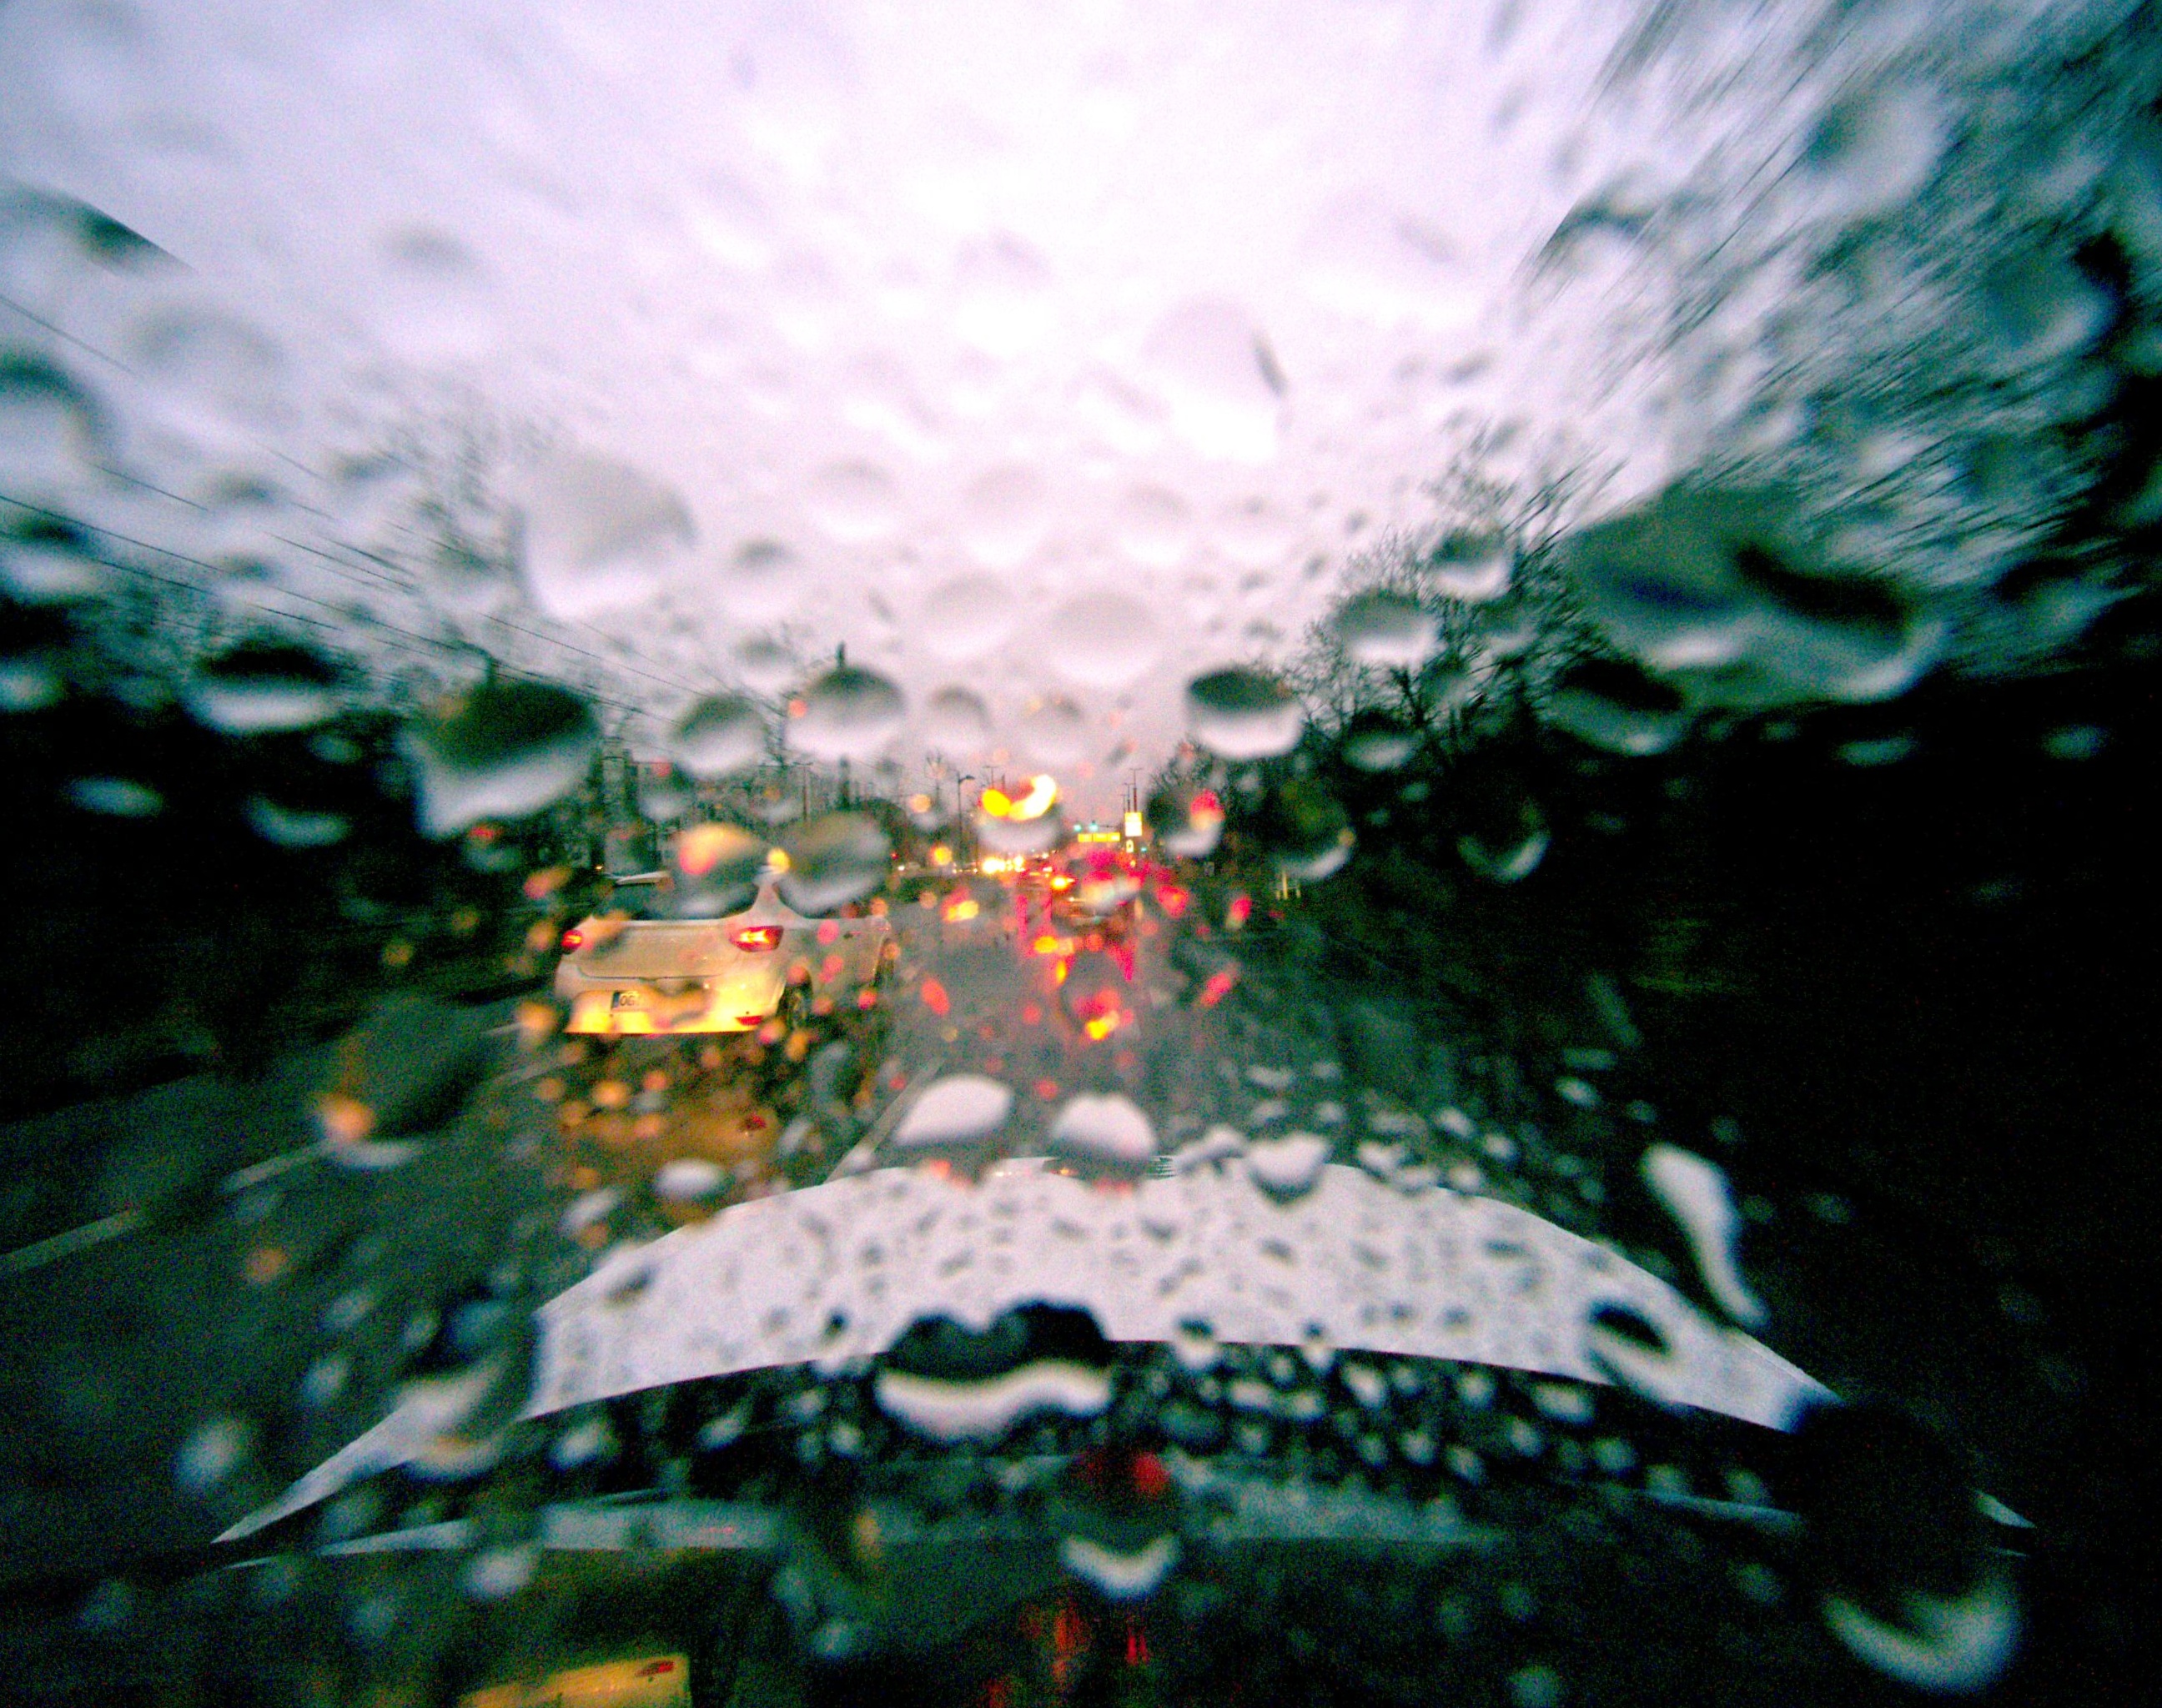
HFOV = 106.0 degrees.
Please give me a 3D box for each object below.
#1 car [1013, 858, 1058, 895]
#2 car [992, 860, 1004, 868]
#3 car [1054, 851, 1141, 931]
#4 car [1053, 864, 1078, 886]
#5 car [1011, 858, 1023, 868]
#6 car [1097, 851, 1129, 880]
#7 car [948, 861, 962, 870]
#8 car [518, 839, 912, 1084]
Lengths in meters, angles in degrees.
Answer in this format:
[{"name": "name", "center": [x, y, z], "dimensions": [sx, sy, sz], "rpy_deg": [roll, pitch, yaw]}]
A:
[{"name": "car", "center": [-2.147, 1.055, 39.442], "dimensions": [1.815, 1.648, 4.001], "rpy_deg": [-1, 0, 2]}, {"name": "car", "center": [-14.761, 1.773, 145.239], "dimensions": [1.646, 1.420, 3.326], "rpy_deg": [-2, 0, 0]}, {"name": "car", "center": [0.420, 0.800, 19.619], "dimensions": [1.815, 1.648, 4.468], "rpy_deg": [-1, 0, 2]}, {"name": "car", "center": [-1.270, 1.722, 67.040], "dimensions": [1.815, 1.648, 4.001], "rpy_deg": [-1, 0, 2]}, {"name": "car", "center": [-11.391, 1.567, 144.550], "dimensions": [1.851, 1.582, 4.079], "rpy_deg": [-2, 0, 0]}, {"name": "car", "center": [1.942, 0.714, 50.274], "dimensions": [1.815, 1.648, 4.468], "rpy_deg": [-2, 0, 2]}, {"name": "car", "center": [-22.259, 2.060, 143.970], "dimensions": [1.612, 1.495, 4.018], "rpy_deg": [-2, 0, 2]}, {"name": "car", "center": [-2.955, 0.753, 7.679], "dimensions": [1.707, 1.648, 4.148], "rpy_deg": [-1, 0, 2]}]
